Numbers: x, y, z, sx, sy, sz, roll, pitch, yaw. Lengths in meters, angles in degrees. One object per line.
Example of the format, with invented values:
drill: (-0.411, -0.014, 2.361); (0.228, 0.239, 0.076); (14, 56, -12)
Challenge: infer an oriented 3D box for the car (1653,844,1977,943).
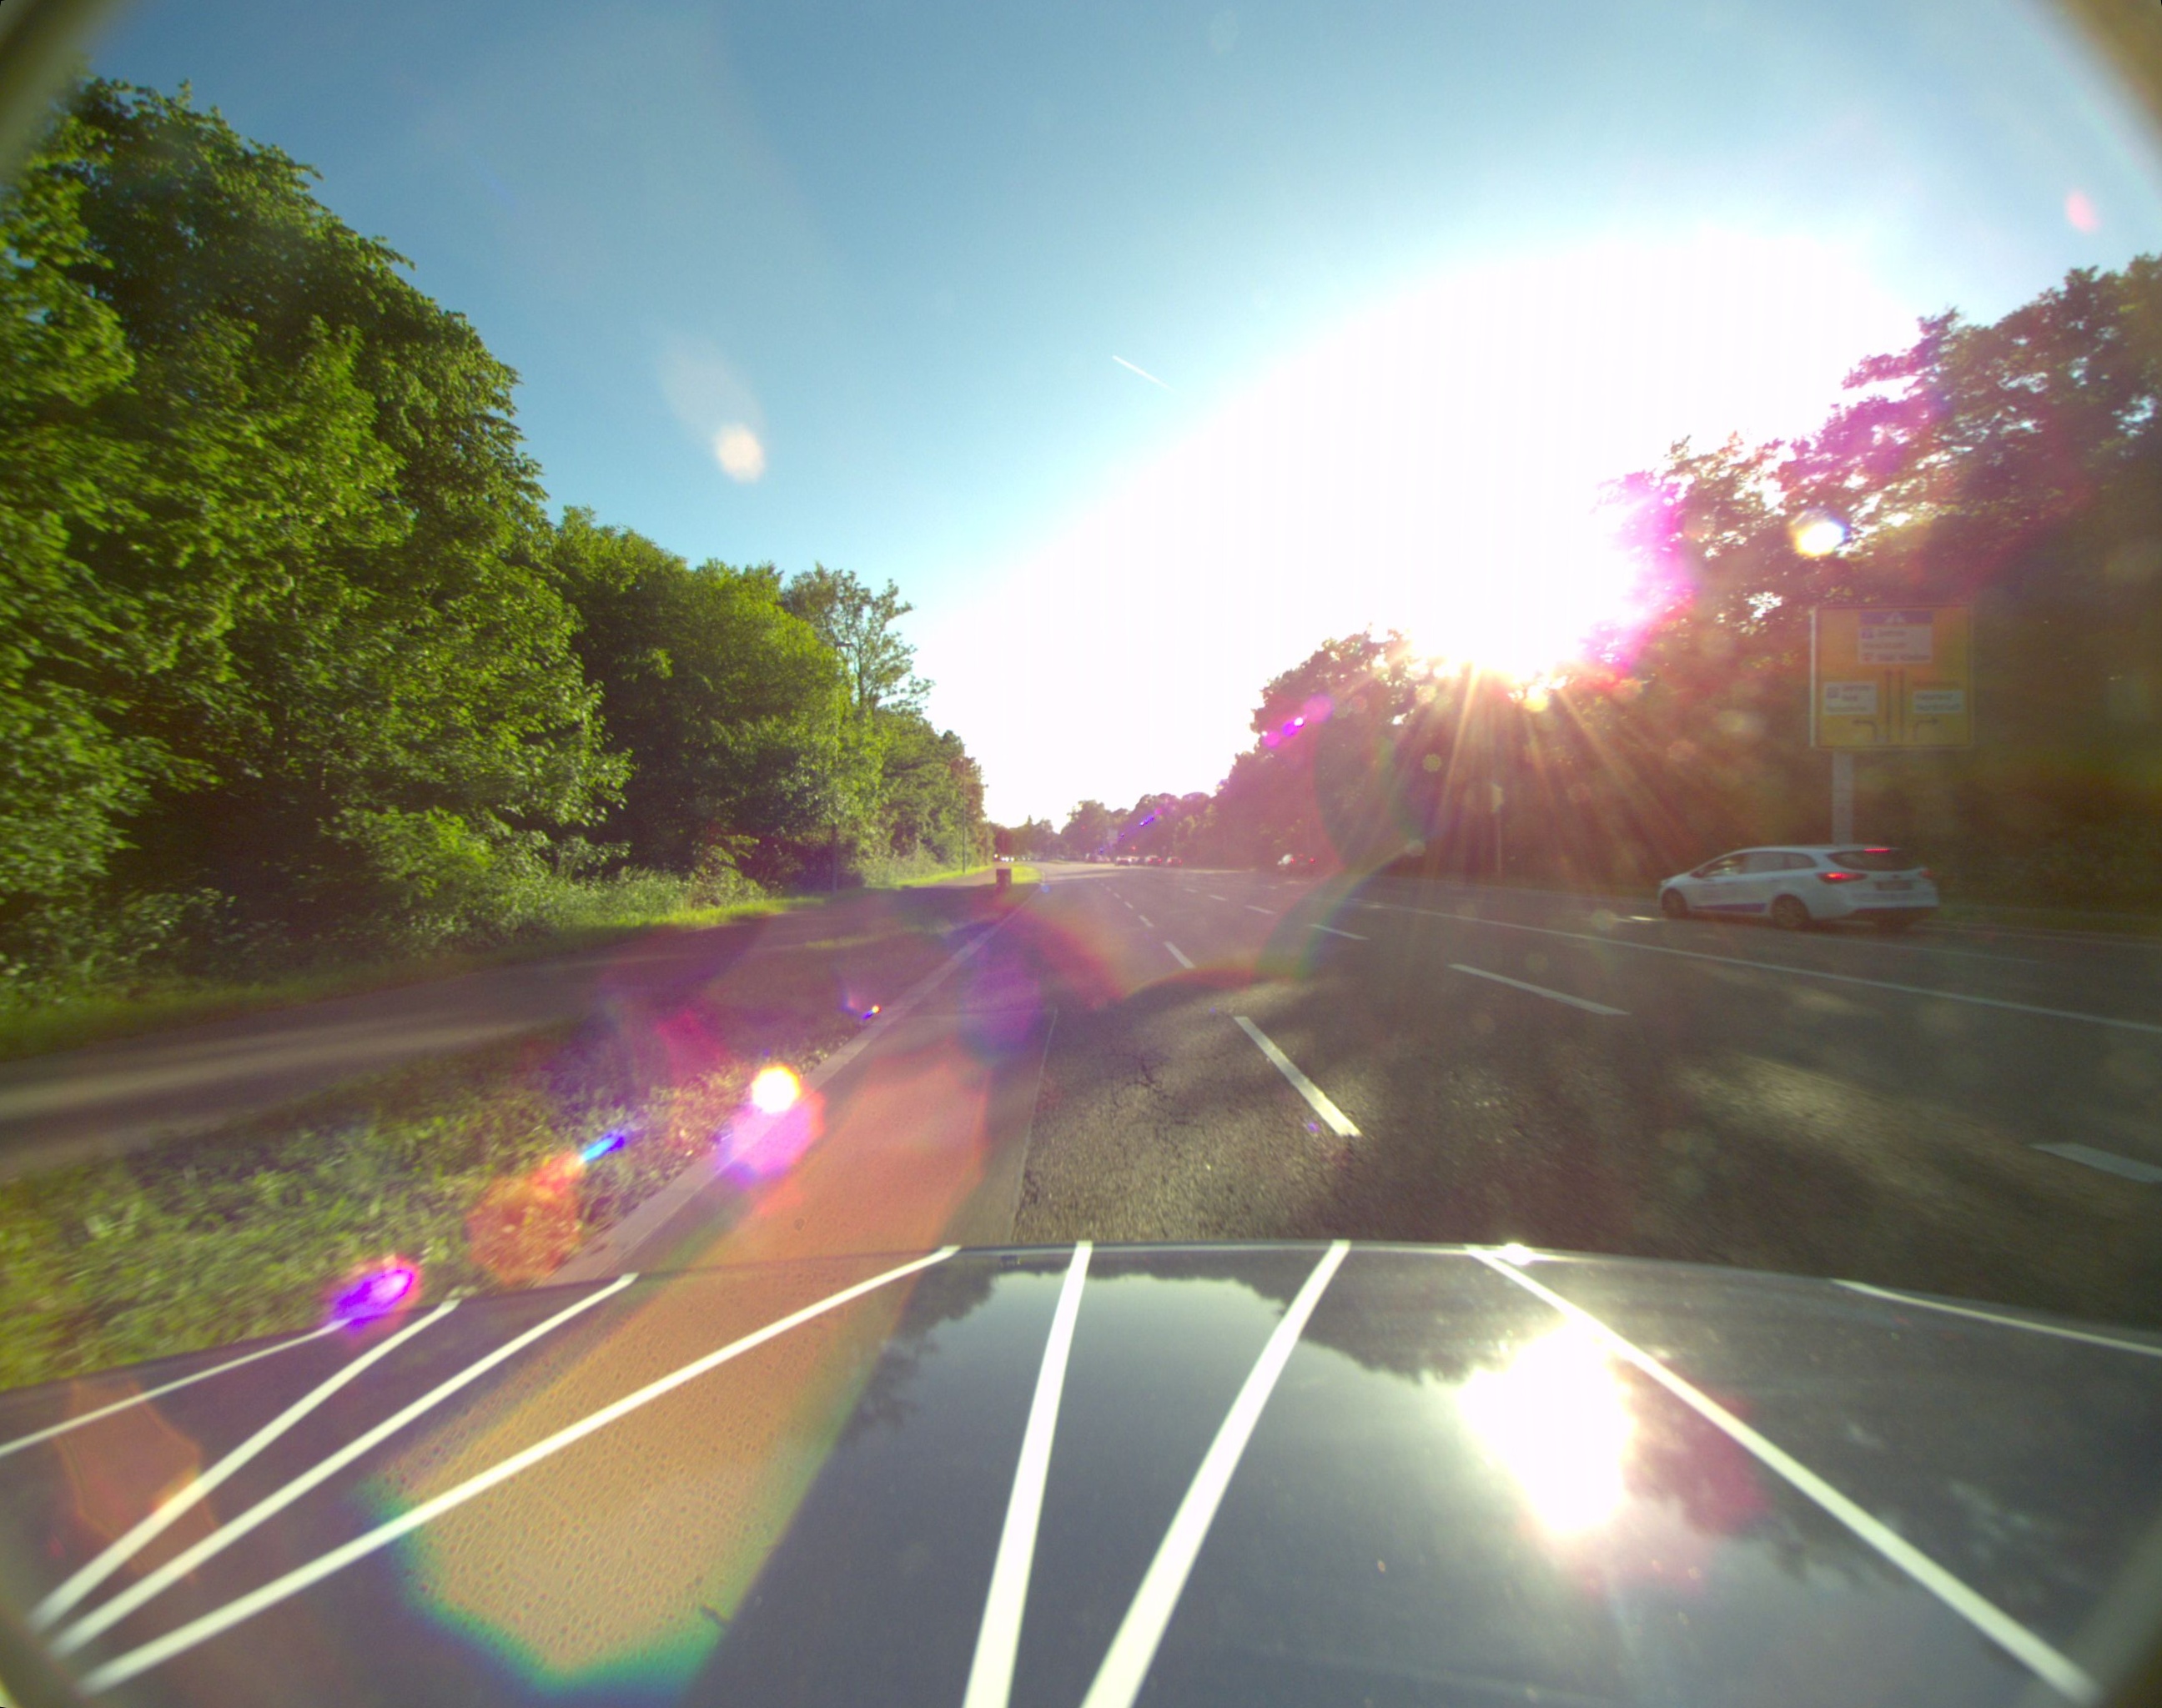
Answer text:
car: (12.941, 0.605, 13.876); (1.829, 1.495, 4.306); (-1, 0, 1)

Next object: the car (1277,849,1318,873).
car: (15.048, 0.463, 53.082); (1.829, 1.536, 4.257); (-1, 0, 3)

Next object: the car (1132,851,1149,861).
car: (10.069, 0.279, 129.318); (2.000, 1.555, 4.645); (3, 0, -6)

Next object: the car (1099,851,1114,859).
car: (4.986, 0.247, 149.920); (2.000, 1.442, 4.644); (1, 0, -8)

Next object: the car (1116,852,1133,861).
car: (6.087, 0.386, 106.321); (1.749, 1.227, 4.671); (0, 0, -4)

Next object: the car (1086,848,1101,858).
car: (2.351, -0.229, 145.665); (2.000, 1.950, 4.644); (1, 0, -8)

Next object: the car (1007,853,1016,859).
car: (-18.938, 0.620, 207.510); (2.000, 1.510, 3.995); (-1, 1, -11)

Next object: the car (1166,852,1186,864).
car: (13.144, 0.524, 105.655); (1.999, 1.555, 4.336); (0, 0, -4)

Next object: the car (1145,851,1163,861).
car: (11.529, 0.330, 120.652); (2.000, 1.627, 4.841); (0, 0, -6)
